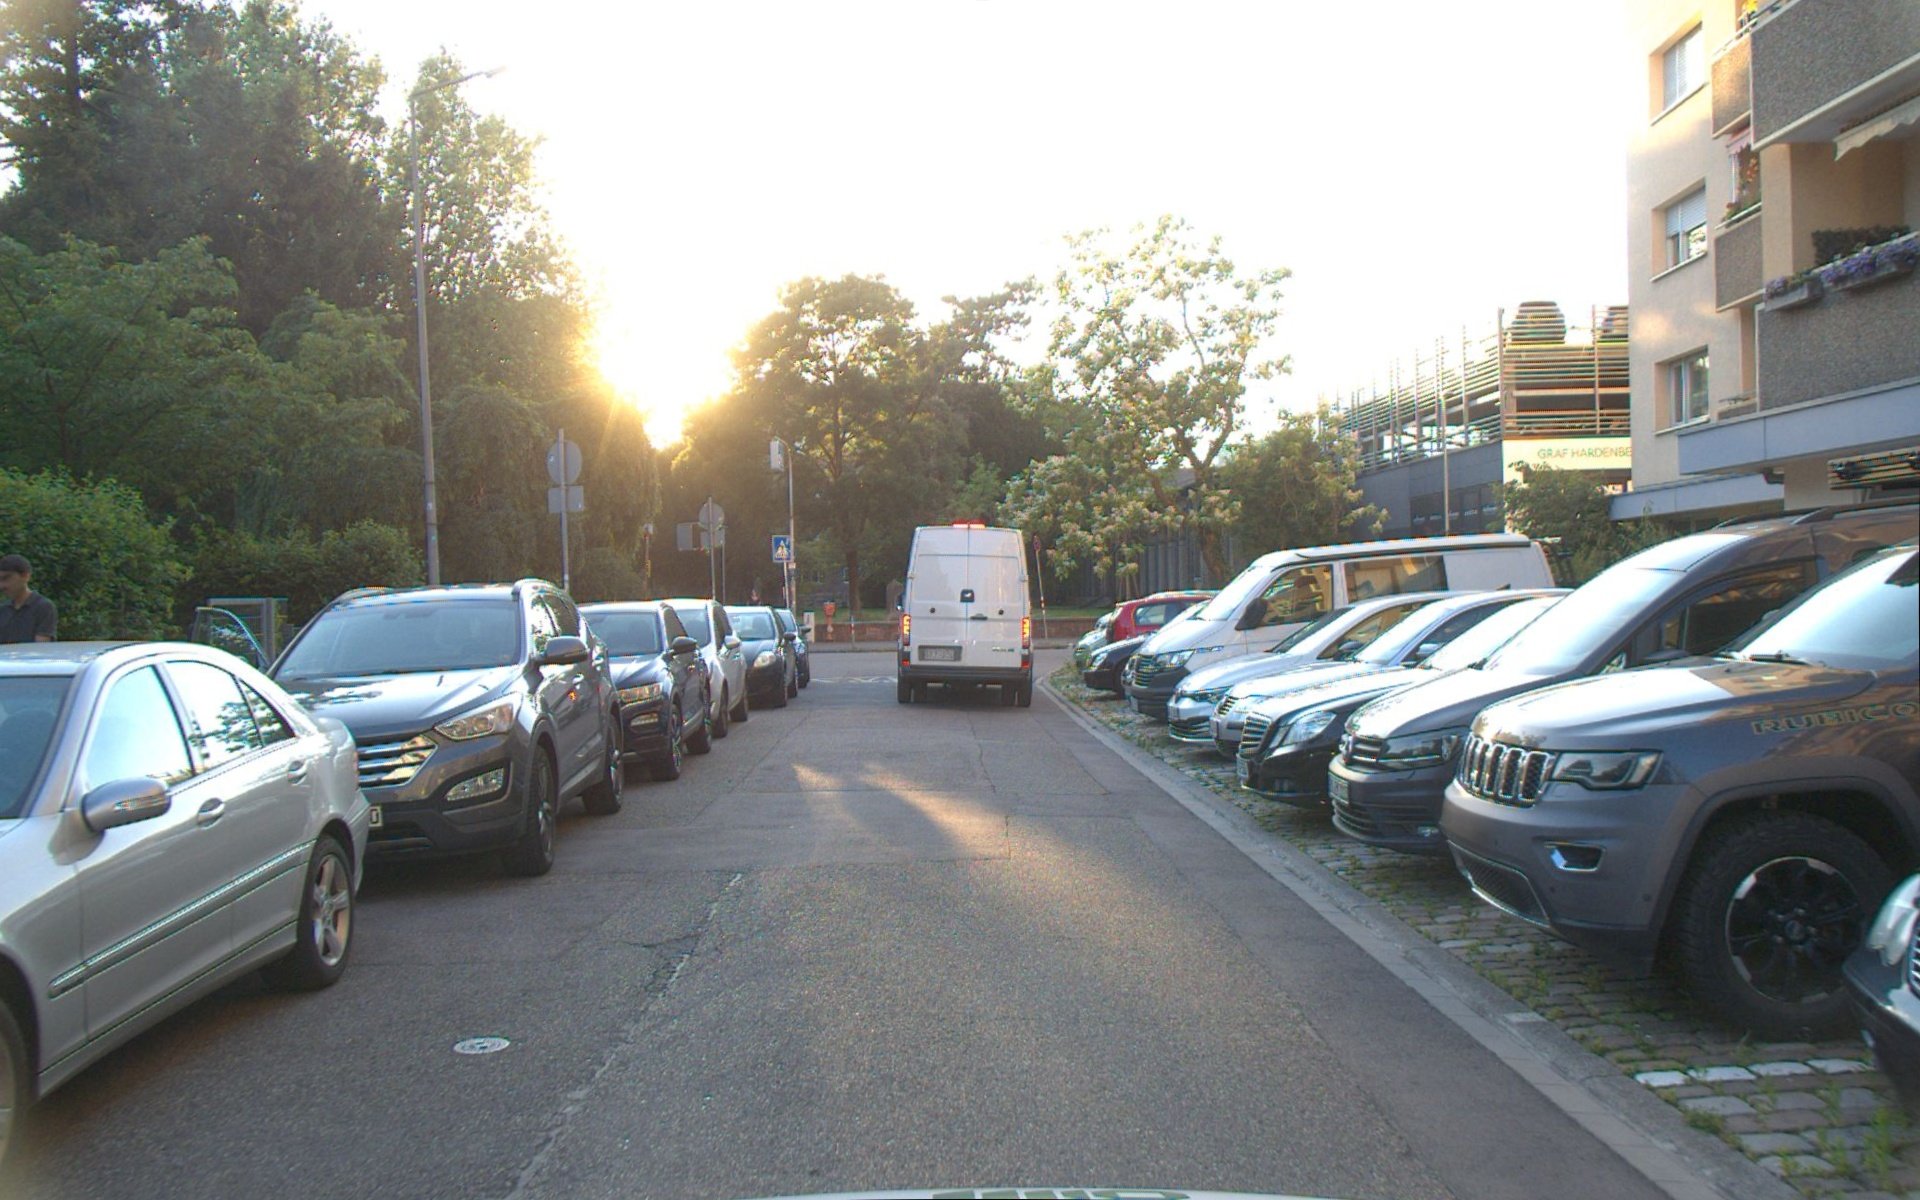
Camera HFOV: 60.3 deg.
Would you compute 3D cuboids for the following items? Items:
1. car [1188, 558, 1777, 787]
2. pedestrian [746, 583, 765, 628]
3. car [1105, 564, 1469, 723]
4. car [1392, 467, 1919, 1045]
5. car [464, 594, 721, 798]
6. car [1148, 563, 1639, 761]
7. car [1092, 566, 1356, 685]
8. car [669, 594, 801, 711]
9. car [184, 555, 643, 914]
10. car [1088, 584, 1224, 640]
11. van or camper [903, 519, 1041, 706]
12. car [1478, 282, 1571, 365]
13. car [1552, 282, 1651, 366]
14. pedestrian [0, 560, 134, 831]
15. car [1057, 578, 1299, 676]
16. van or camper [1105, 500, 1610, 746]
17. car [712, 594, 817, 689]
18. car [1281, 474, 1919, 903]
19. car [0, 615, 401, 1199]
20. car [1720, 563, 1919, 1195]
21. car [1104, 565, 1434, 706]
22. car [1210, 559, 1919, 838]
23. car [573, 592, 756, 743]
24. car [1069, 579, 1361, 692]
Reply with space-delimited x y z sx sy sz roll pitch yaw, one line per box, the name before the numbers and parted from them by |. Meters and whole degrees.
car | 4.251 0.593 13.947 4.315 1.621 1.845 -2 -2 -2
pedestrian | -7.594 0.197 61.415 0.633 1.677 0.674 1 0 -1
car | 4.159 0.563 21.457 4.241 1.690 1.780 -4 -2 -4
car | 4.198 0.456 6.557 4.421 1.895 1.845 -2 0 -2
car | -3.314 0.776 15.671 1.699 1.594 4.164 -2 0 -4
car | 4.166 0.603 16.397 4.315 1.660 1.845 -2 -2 -2
car | 4.602 0.444 29.323 4.314 1.659 1.846 -5 0 1
car | -3.388 0.738 25.504 1.699 1.594 3.694 -2 0 -4
car | -3.202 0.673 10.630 1.699 1.760 4.320 -2 0 -4
car | 5.833 0.349 49.616 3.778 1.601 1.957 0 0 -3
van or camper | 0.115 0.168 26.736 1.953 2.664 6.401 0 0 -1
car | 18.467 -9.028 54.280 1.951 2.049 4.002 0 0 4
car | 20.990 -9.007 54.292 1.951 2.049 4.002 0 0 4
pedestrian | -6.322 0.619 11.318 0.880 1.763 0.750 2 0 19
car | 4.141 0.529 31.884 4.316 1.660 1.844 -2 -2 -4
van or camper | 4.338 0.242 18.623 5.032 2.205 2.039 -5 0 -3
car | -3.599 0.728 31.007 1.699 1.594 3.788 -2 0 -4
car | 4.281 0.426 9.206 4.543 2.016 1.845 -2 -2 -2
car | -3.275 0.837 5.304 1.699 1.451 4.284 -2 0 -4
car | 4.532 0.610 4.174 4.313 1.581 1.846 -2 -2 1
car | 4.423 0.518 24.102 4.317 1.690 1.844 -4 -2 -4
car | 4.076 0.650 11.500 4.315 1.590 1.845 -2 -2 -2
car | -3.506 0.732 20.292 1.699 1.594 4.126 -2 0 -4
car | 4.038 0.574 26.684 4.316 1.558 1.844 -2 -2 -4
